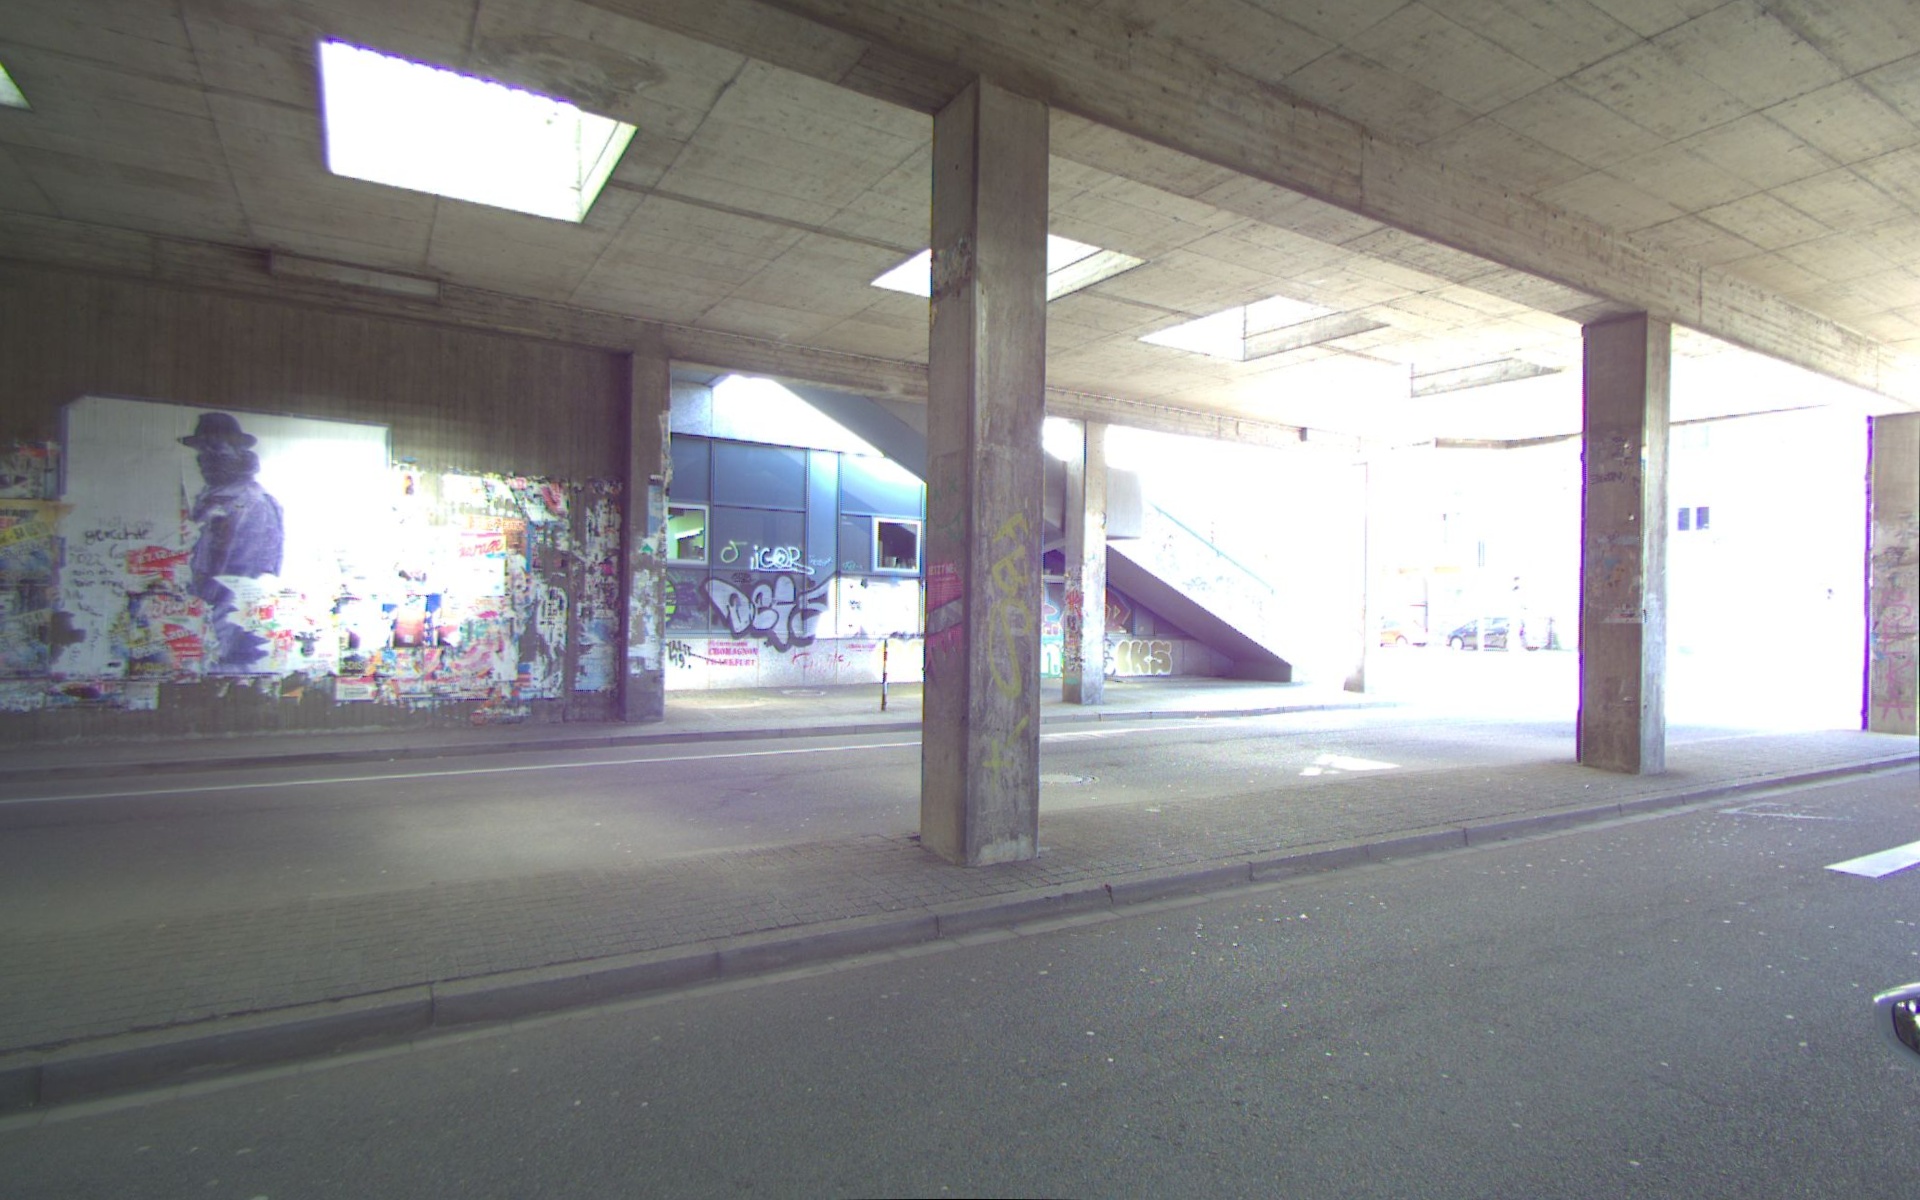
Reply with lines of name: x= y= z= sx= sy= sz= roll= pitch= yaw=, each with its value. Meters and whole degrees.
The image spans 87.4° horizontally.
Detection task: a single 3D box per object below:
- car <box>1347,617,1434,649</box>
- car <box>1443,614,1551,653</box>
car: x=22.524 y=1.675 z=52.668 sx=1.876 sy=1.561 sz=3.861 roll=0 pitch=0 yaw=-29
car: x=25.423 y=1.546 z=47.696 sx=1.939 sy=1.747 sz=4.141 roll=0 pitch=0 yaw=-29
